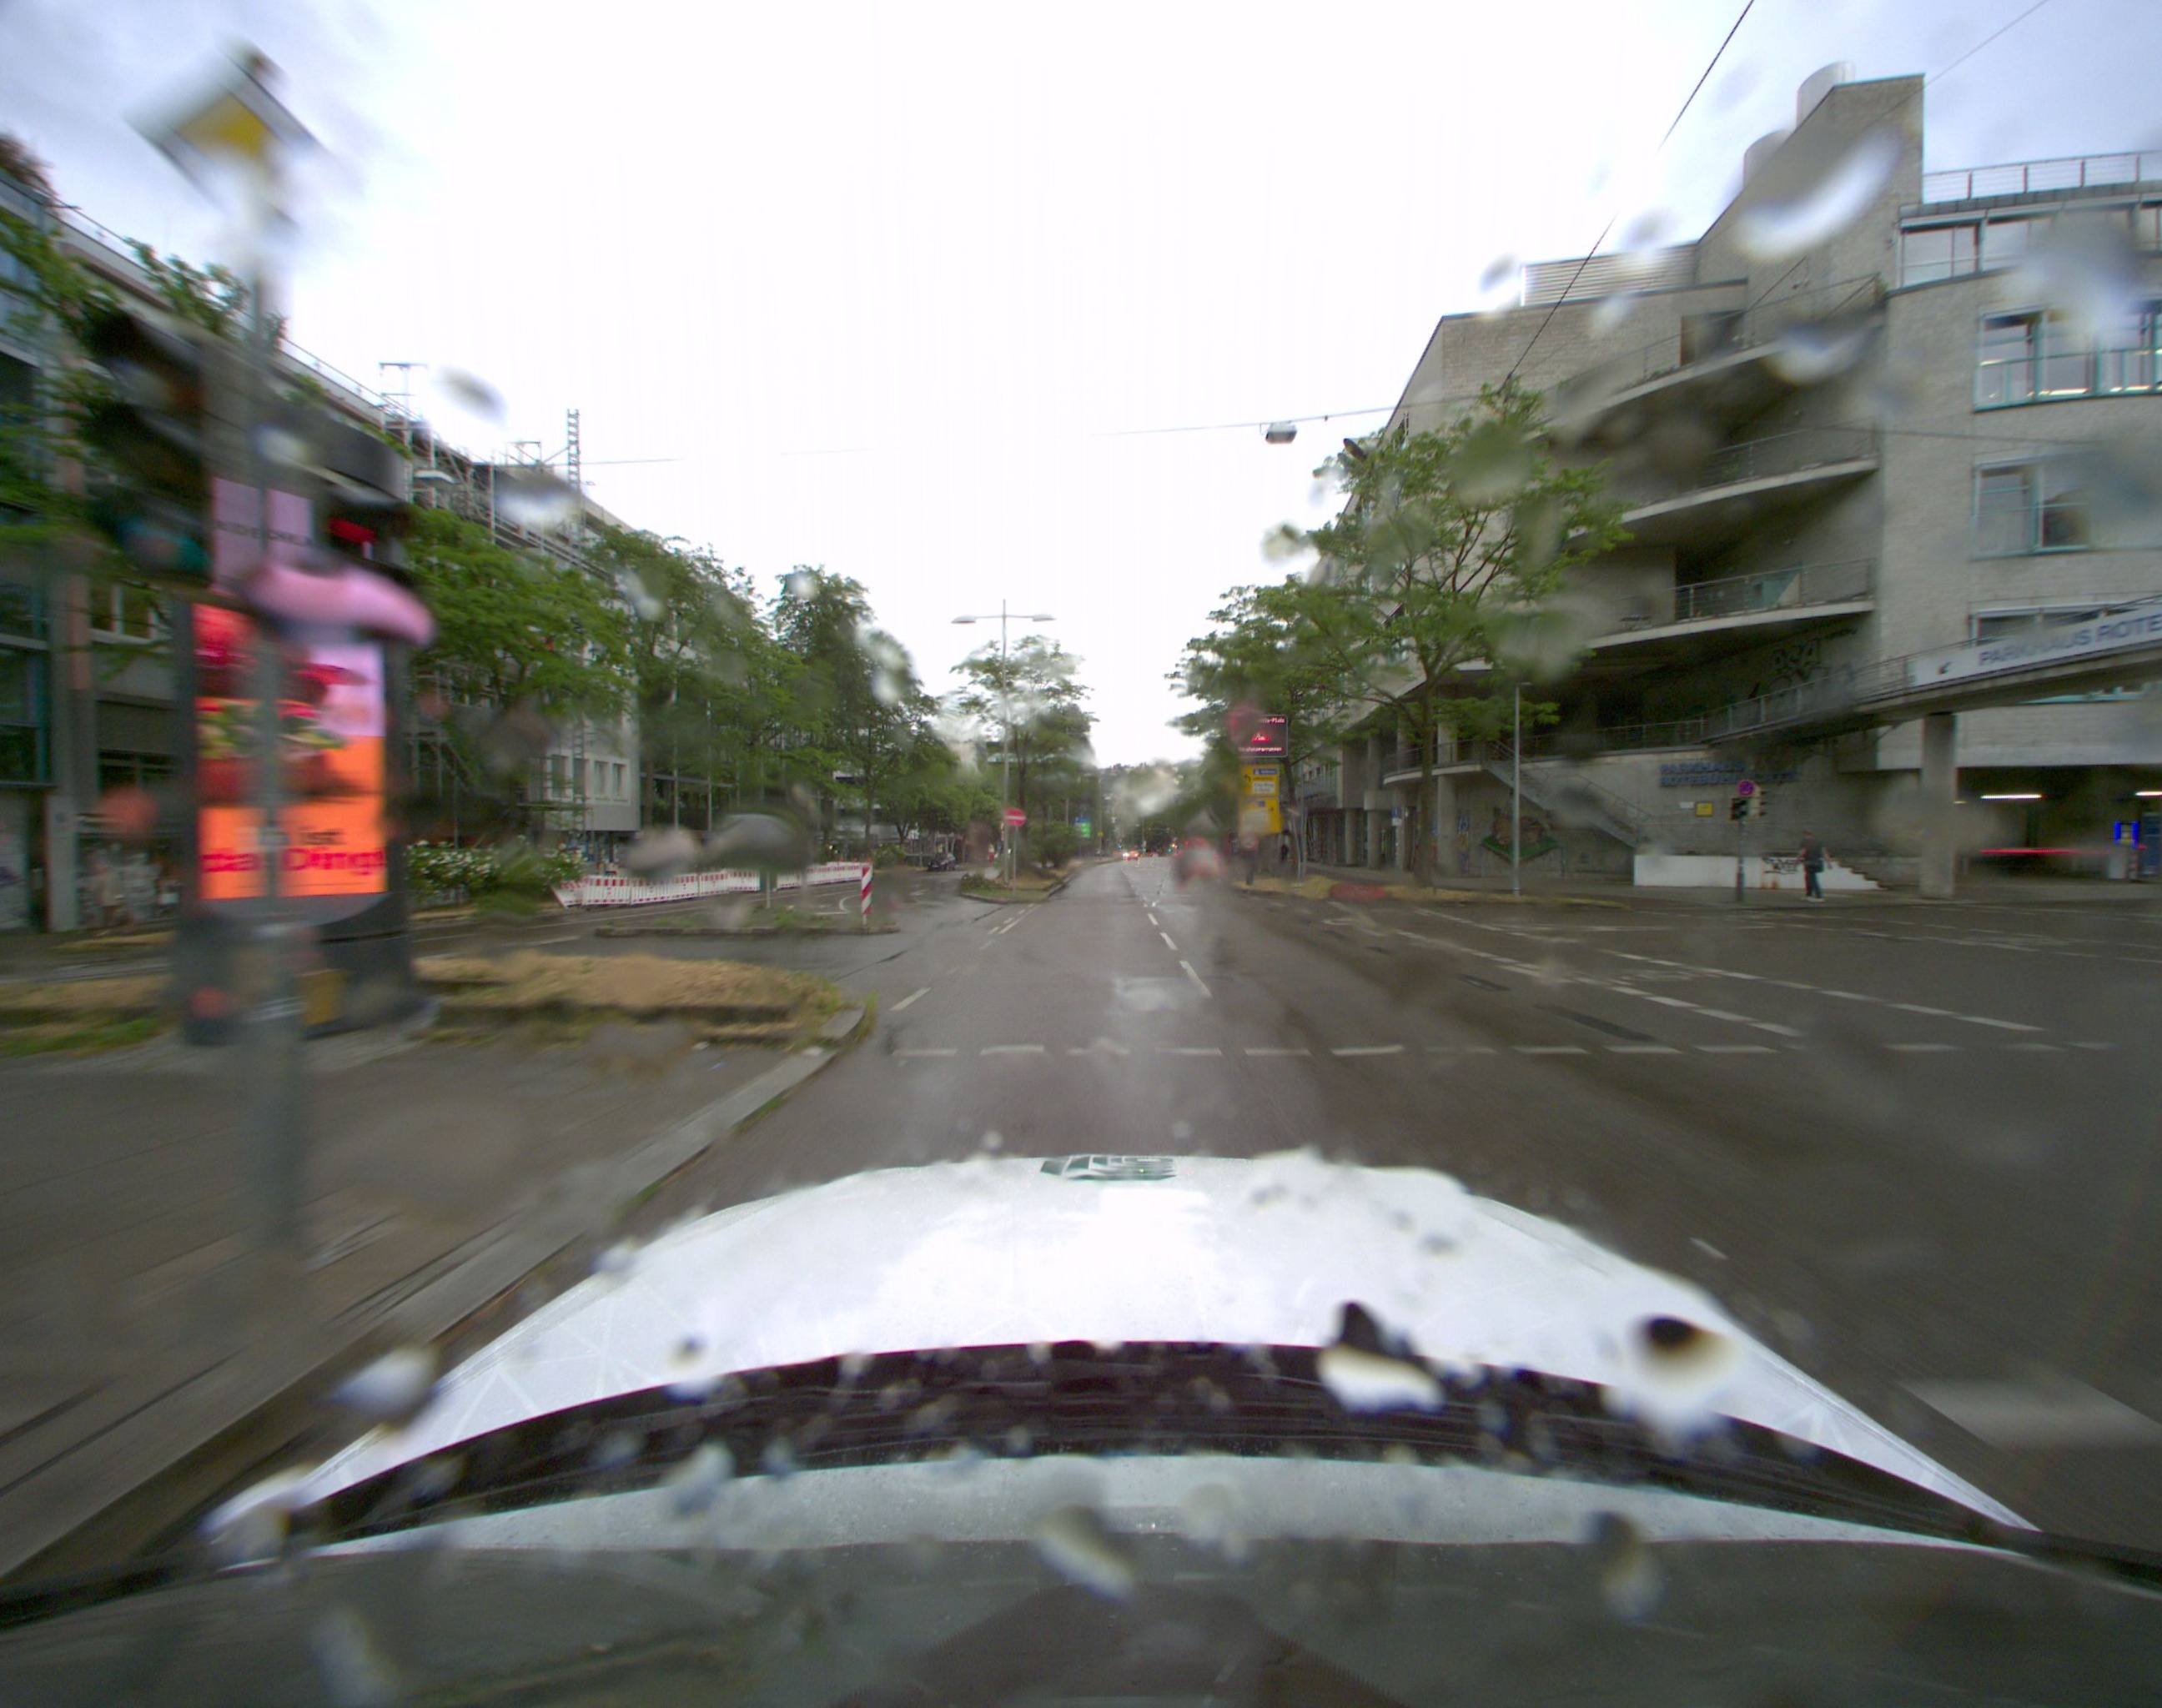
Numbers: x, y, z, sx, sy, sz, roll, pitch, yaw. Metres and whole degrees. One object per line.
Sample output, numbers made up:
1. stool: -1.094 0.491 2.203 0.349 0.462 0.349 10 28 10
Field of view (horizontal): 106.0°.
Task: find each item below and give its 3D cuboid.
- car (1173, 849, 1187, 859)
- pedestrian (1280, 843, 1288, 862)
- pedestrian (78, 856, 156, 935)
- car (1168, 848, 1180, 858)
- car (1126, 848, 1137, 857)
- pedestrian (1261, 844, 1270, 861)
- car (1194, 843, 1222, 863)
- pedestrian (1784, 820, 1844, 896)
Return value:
1. car: 17.635 0.065 145.166 1.986 1.724 4.001 -1 -1 1
2. pedestrian: 20.800 -0.167 83.515 0.770 1.920 0.705 -1 -1 12
3. pedestrian: -21.833 0.922 18.462 0.691 1.741 0.876 0 -1 -1
4. car: 17.884 -0.134 156.304 1.986 1.736 4.001 -1 -1 2
5. car: 9.411 -0.234 151.701 1.823 1.640 4.299 0 0 0
6. pedestrian: 21.079 -0.121 92.998 0.772 1.920 0.703 -1 -1 1
7. car: 11.381 -0.119 73.015 2.324 1.691 4.010 -1 0 9
8. pedestrian: 18.879 0.091 20.992 0.843 1.910 0.758 -1 0 1
